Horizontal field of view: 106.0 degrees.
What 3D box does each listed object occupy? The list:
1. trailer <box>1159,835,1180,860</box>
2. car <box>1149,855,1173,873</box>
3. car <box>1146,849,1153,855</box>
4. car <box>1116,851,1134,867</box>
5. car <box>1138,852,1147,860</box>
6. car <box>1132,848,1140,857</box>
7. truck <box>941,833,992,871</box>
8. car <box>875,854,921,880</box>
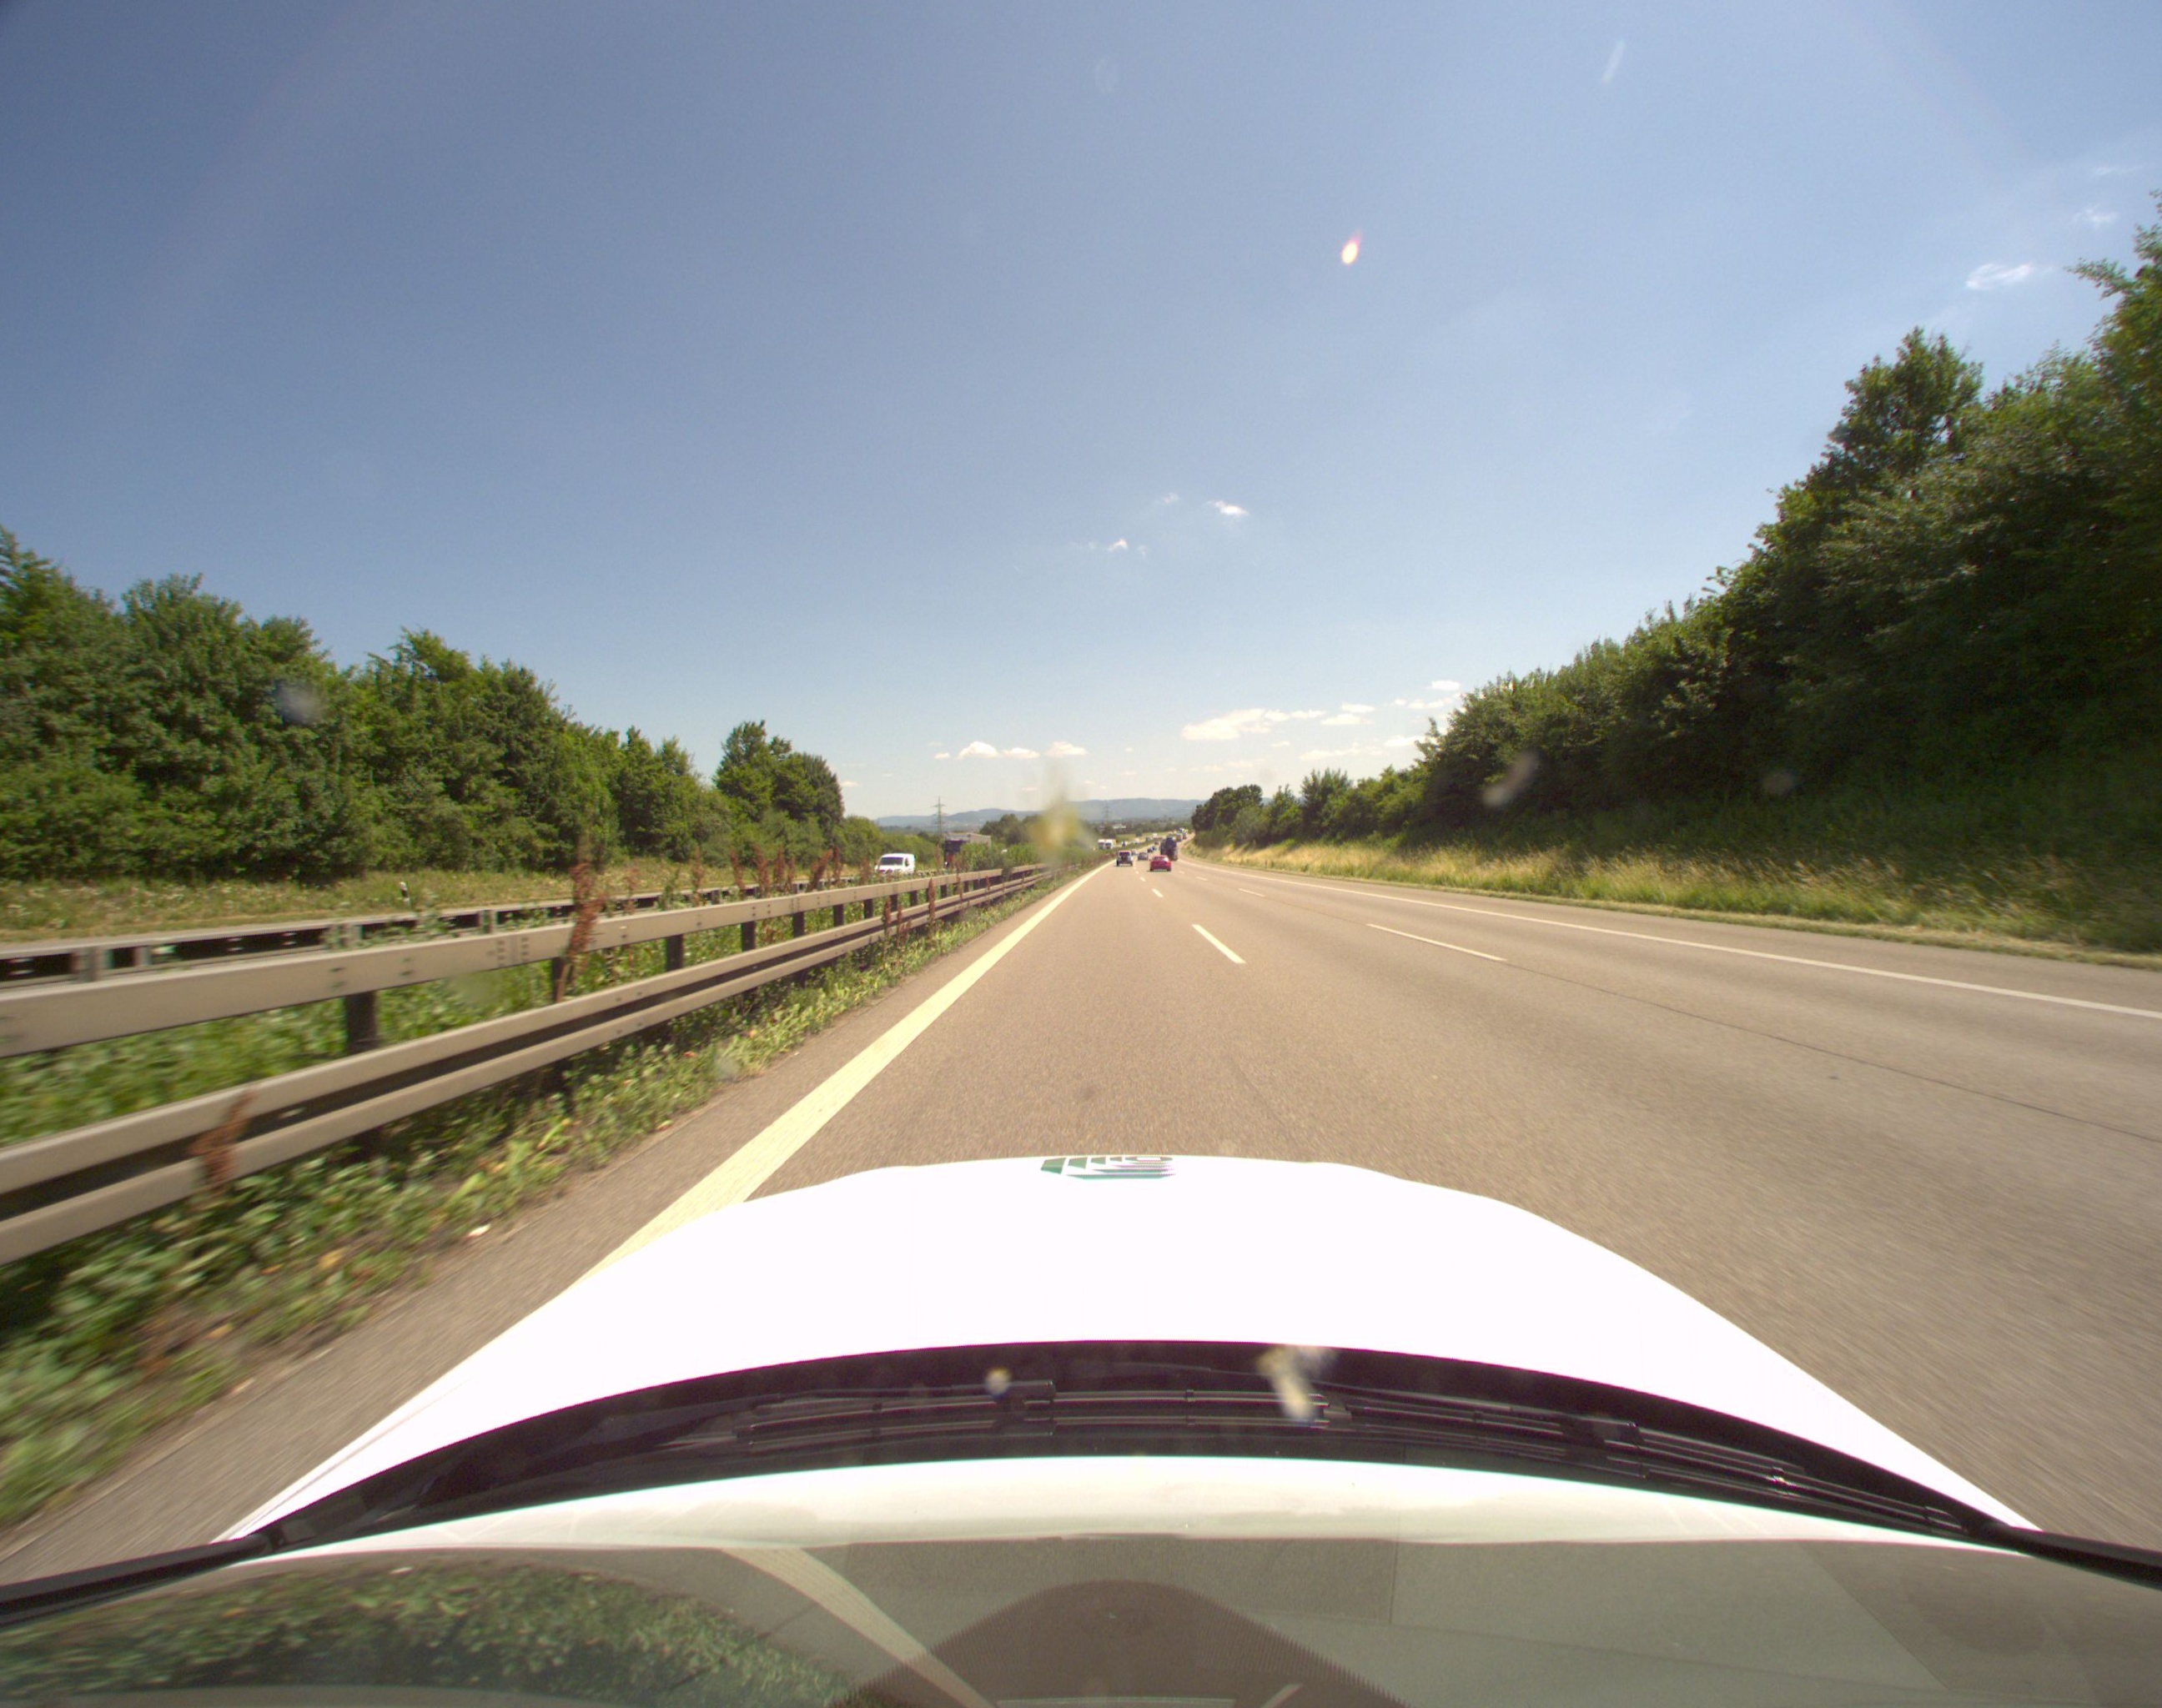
[{"bbox_3d":[15.357,-1.231,141.916,2.843,3.993,15.413,-1,1,4],"label":"trailer"},{"bbox_3d":[7.135,0.872,72.602,1.681,1.378,3.947,-1,1,-1],"label":"car"},{"bbox_3d":[19.706,-0.472,234.949,1.625,1.704,3.411,0,1,10],"label":"car"},{"bbox_3d":[5.342,0.582,98.904,2.076,1.829,4.756,-1,1,2],"label":"car"},{"bbox_3d":[10.643,0.327,140.506,1.447,1.267,3.541,-1,1,2],"label":"car"},{"bbox_3d":[13.914,-0.383,206.529,1.687,2.013,3.833,0,1,10],"label":"car"},{"bbox_3d":[-13.013,-0.247,94.483,2.963,4.013,16.836,-1,0,2],"label":"truck"},{"bbox_3d":[-11.012,0.764,49.237,1.494,1.514,4.871,-1,0,2],"label":"car"}]
